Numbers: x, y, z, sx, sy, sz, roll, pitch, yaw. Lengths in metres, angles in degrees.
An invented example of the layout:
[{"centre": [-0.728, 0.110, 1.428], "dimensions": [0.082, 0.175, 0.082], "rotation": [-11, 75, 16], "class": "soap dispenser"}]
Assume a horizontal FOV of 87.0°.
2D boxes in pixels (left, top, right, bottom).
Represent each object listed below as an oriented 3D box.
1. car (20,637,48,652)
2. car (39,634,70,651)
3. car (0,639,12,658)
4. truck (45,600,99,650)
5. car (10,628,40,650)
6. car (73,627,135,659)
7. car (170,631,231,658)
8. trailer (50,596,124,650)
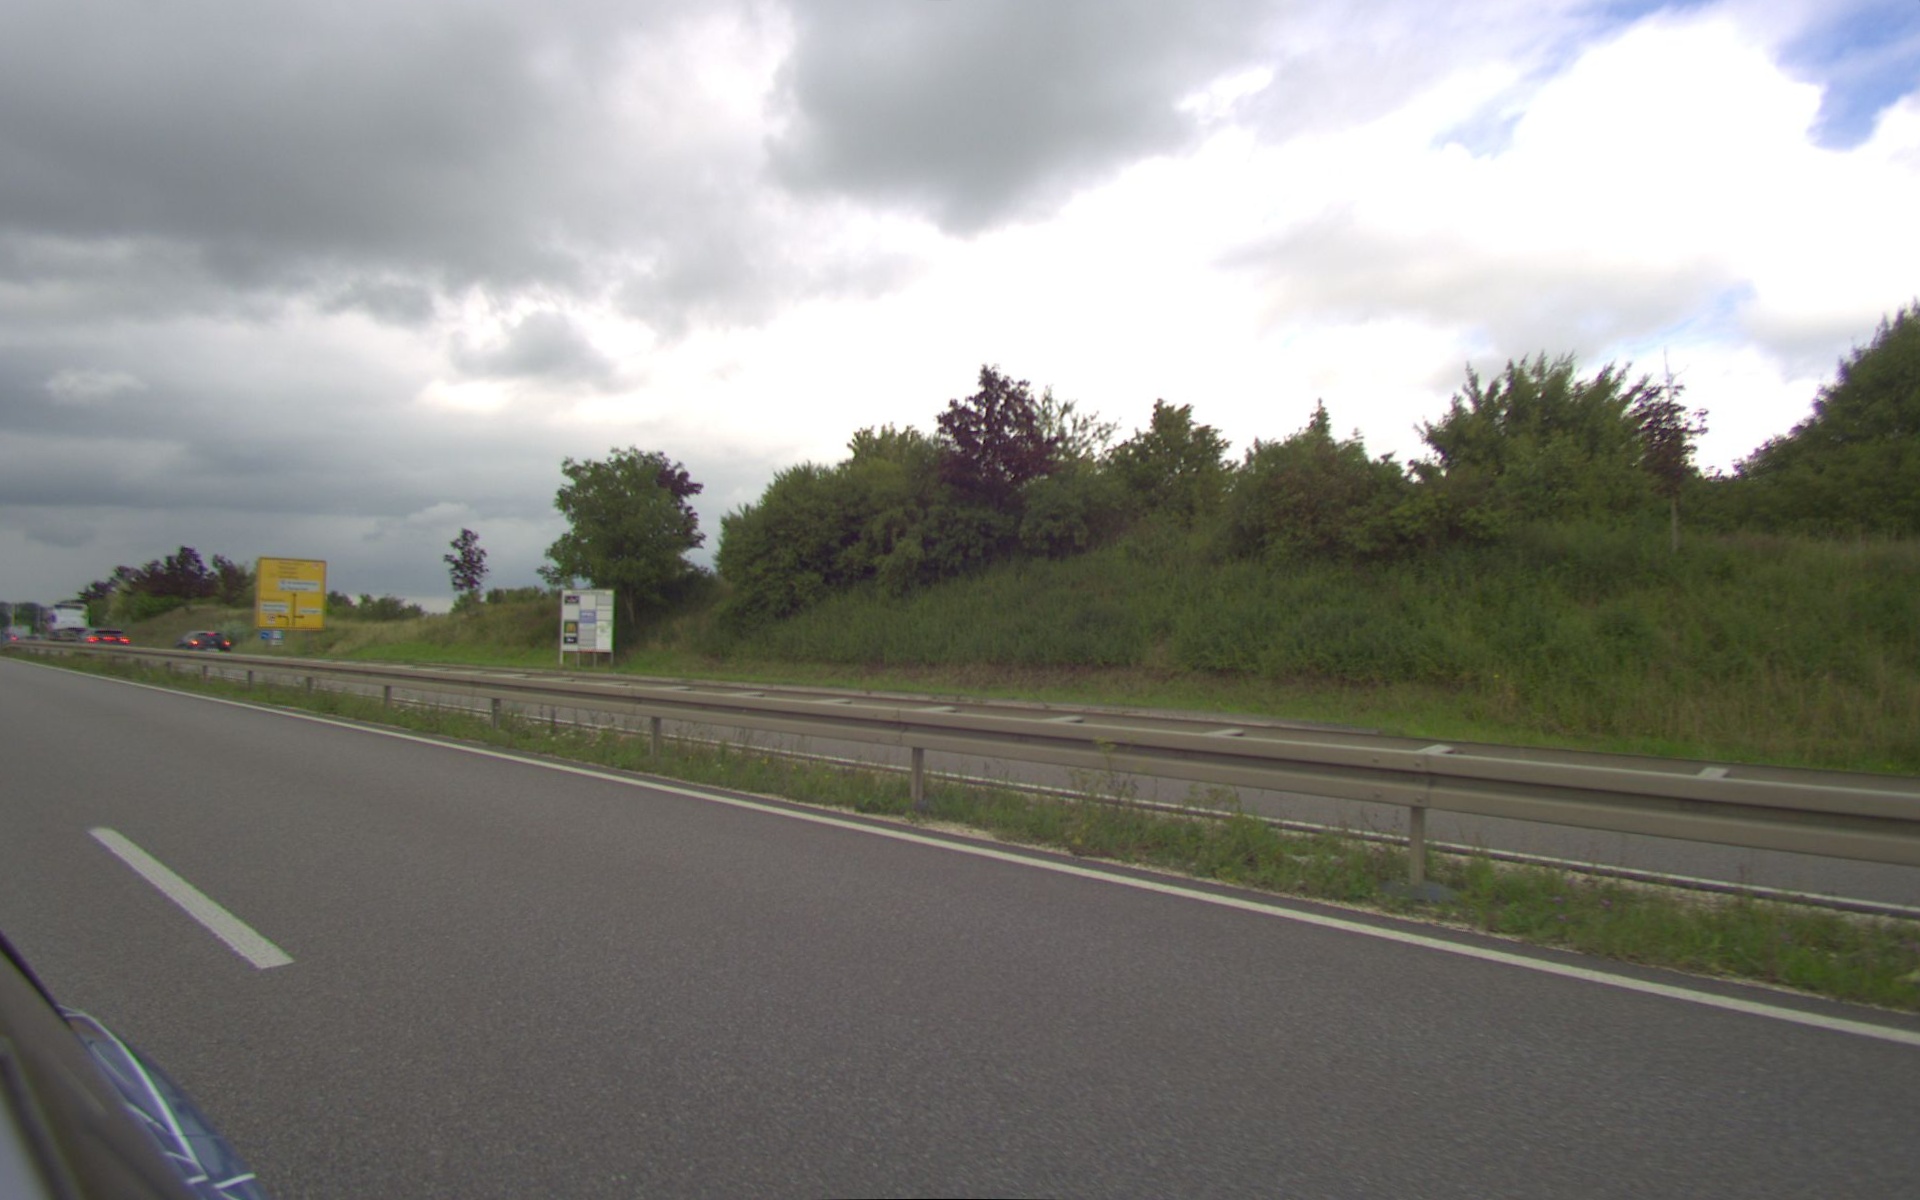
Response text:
[{"centre": [-99.195, 4.763, 108.401], "dimensions": [4.547, 1.542, 1.714], "rotation": [-3, -5, 42], "class": "car"}, {"centre": [-86.599, 4.103, 96.816], "dimensions": [4.192, 1.542, 1.714], "rotation": [-3, -5, 42], "class": "car"}, {"centre": [-81.364, 4.097, 85.133], "dimensions": [4.193, 1.531, 2.063], "rotation": [-3, -4, 43], "class": "car"}, {"centre": [-74.757, 2.178, 85.156], "dimensions": [5.285, 4.028, 2.772], "rotation": [-3, -4, 42], "class": "truck"}, {"centre": [-111.821, 4.659, 120.961], "dimensions": [5.634, 2.458, 2.011], "rotation": [-3, -5, 42], "class": "car"}, {"centre": [-42.140, 2.135, 49.786], "dimensions": [4.575, 1.497, 1.735], "rotation": [-3, -3, 42], "class": "car"}, {"centre": [-38.654, 2.281, 51.476], "dimensions": [4.416, 1.334, 1.673], "rotation": [-3, -3, 42], "class": "car"}, {"centre": [-69.160, 1.962, 80.059], "dimensions": [12.981, 3.977, 2.745], "rotation": [-3, -3, 42], "class": "trailer"}]
